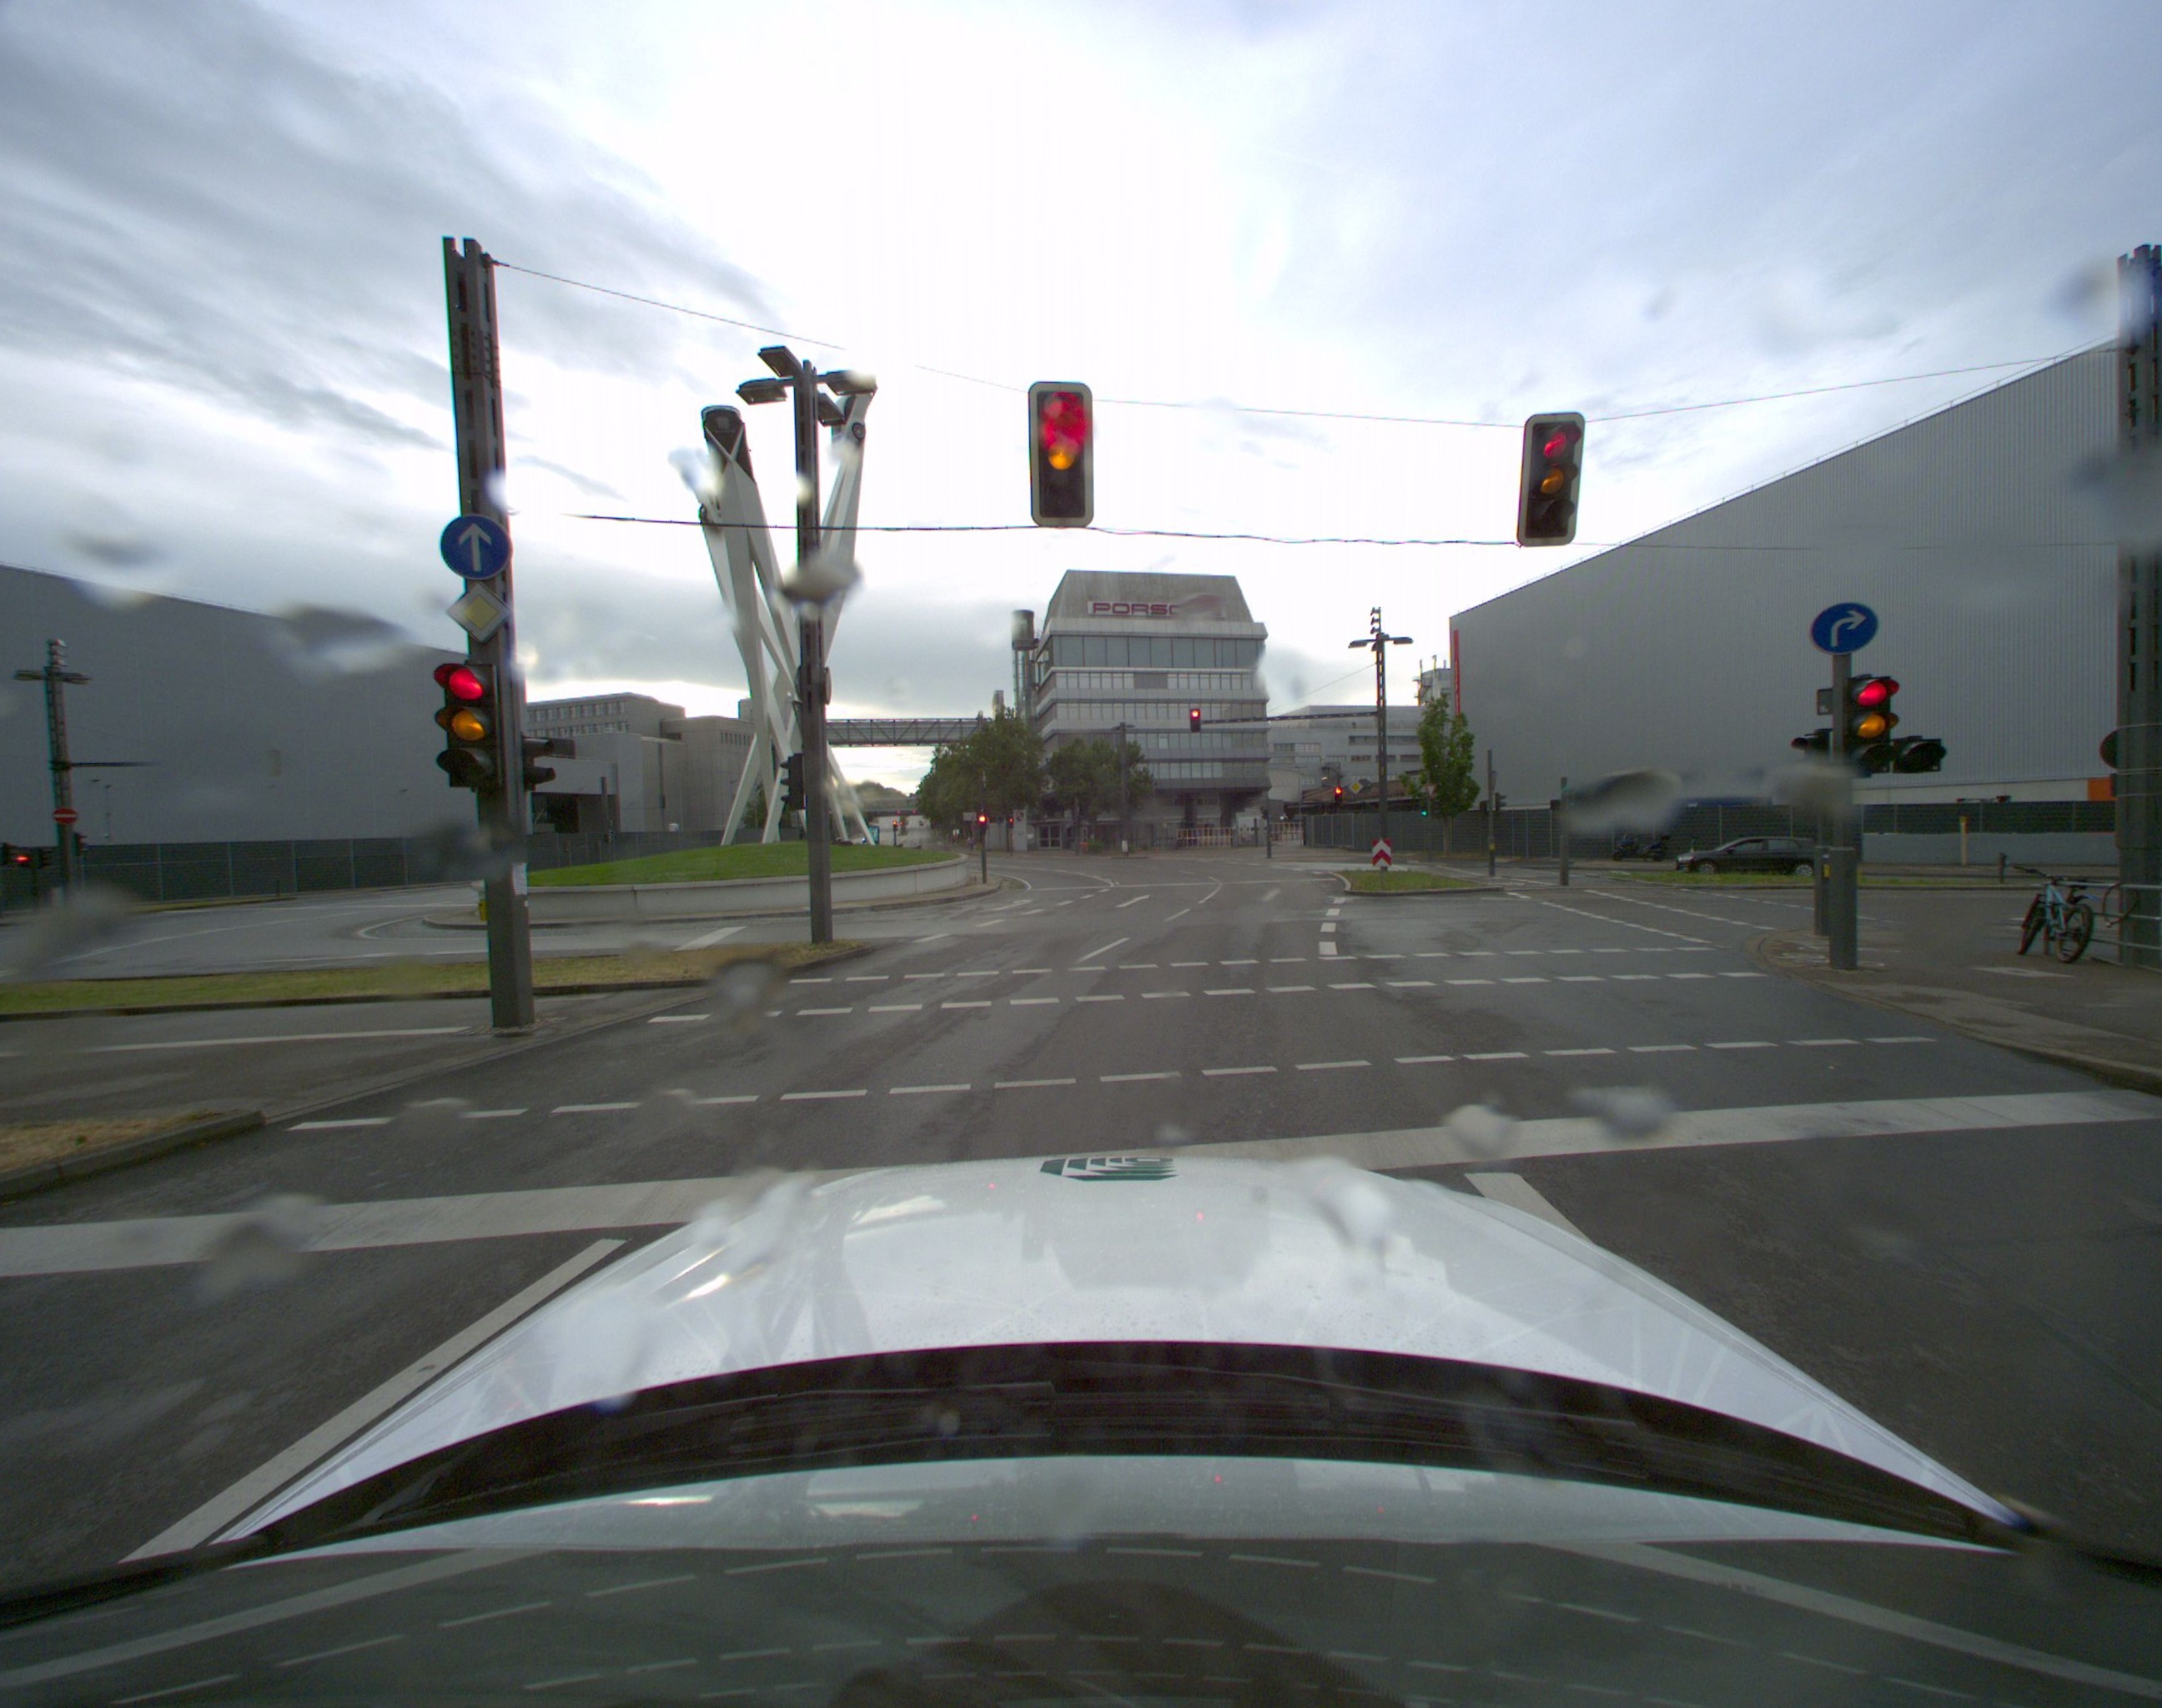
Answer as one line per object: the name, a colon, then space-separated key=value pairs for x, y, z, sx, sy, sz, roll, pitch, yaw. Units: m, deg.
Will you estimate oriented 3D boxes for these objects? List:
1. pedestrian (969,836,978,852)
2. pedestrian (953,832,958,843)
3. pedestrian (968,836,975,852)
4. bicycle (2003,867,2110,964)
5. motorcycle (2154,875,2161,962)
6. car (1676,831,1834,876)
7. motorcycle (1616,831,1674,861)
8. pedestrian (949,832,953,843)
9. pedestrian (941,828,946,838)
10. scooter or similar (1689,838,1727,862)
pedestrian: x=-10.559 y=-0.954 z=79.866 sx=0.831 sy=1.520 sz=0.839 roll=-2 pitch=2 yaw=-9
pedestrian: x=-20.200 y=-2.672 z=131.024 sx=0.757 sy=1.740 sz=0.712 roll=0 pitch=-1 yaw=-8
pedestrian: x=-10.894 y=-1.015 z=81.037 sx=0.708 sy=1.591 sz=0.839 roll=-2 pitch=2 yaw=-7
bicycle: x=12.564 y=0.743 z=10.537 sx=0.416 sy=1.130 sz=2.086 roll=-1 pitch=-1 yaw=37
motorcycle: x=15.132 y=0.837 z=10.301 sx=2.074 sy=1.145 sz=0.490 roll=0 pitch=-1 yaw=11
car: x=22.816 y=-0.031 z=27.775 sx=3.949 sy=1.425 sz=1.732 roll=0 pitch=1 yaw=31
motorcycle: x=25.574 y=-0.377 z=36.963 sx=2.074 sy=1.310 sz=0.659 roll=0 pitch=2 yaw=27
pedestrian: x=-20.498 y=-2.654 z=128.392 sx=0.712 sy=1.740 sz=0.757 roll=0 pitch=-1 yaw=-12
pedestrian: x=-28.207 y=-4.267 z=166.933 sx=0.761 sy=2.013 sz=0.693 roll=-1 pitch=0 yaw=5
scooter or similar: x=27.569 y=-0.195 z=35.821 sx=0.387 sy=1.028 sz=1.259 roll=-1 pitch=2 yaw=-29
